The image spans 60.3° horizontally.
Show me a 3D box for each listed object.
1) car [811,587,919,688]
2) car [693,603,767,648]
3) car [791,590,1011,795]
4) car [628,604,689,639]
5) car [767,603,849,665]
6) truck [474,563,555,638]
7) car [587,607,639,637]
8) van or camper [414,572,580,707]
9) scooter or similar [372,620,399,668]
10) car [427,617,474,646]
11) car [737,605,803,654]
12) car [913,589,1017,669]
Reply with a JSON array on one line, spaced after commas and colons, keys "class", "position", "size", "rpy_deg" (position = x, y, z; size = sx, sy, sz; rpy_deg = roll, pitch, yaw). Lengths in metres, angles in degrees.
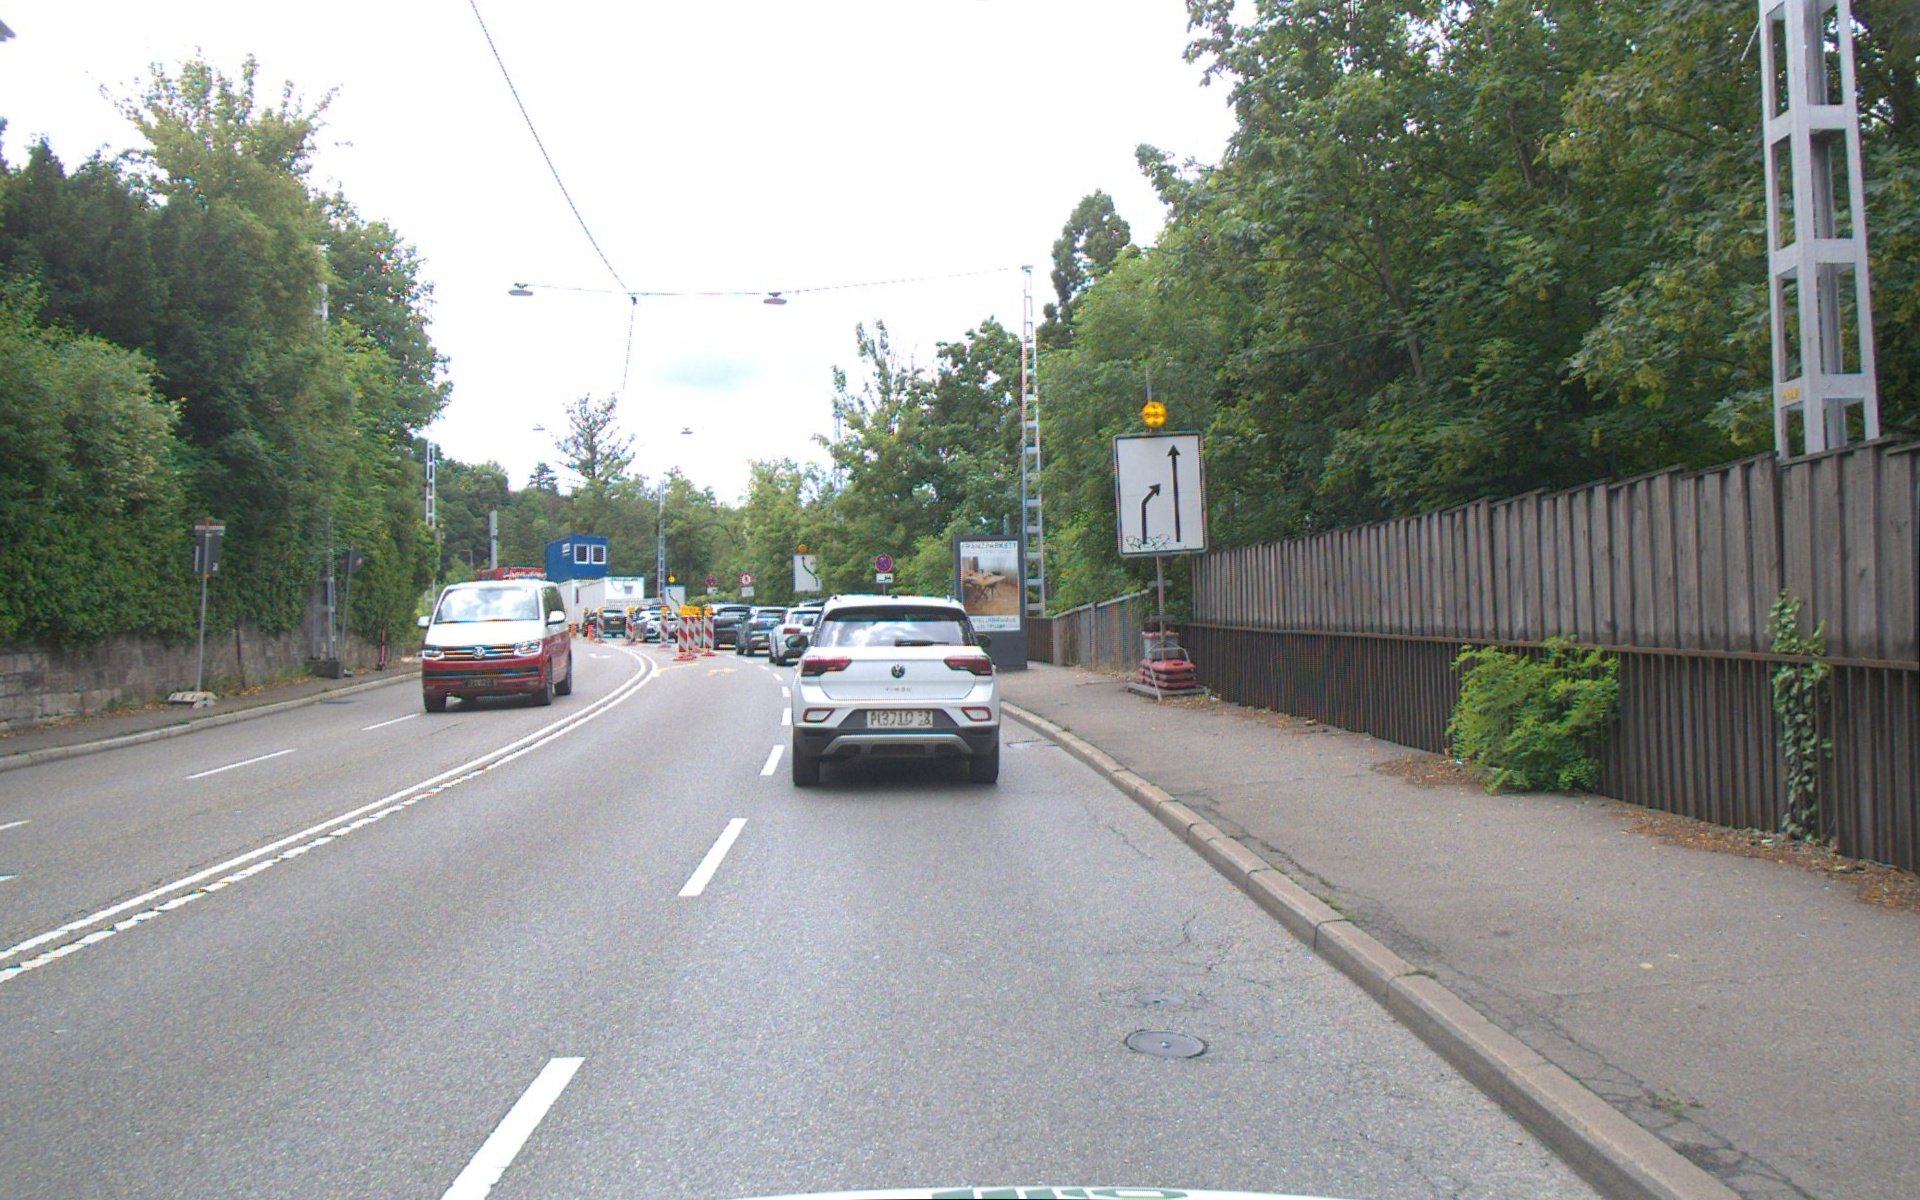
[{"class": "car", "position": [-1.717, 0.626, 28.860], "size": [1.724, 1.638, 3.790], "rpy_deg": [0, 0, -6]}, {"class": "car", "position": [-8.666, 0.932, 62.101], "size": [1.964, 1.583, 4.126], "rpy_deg": [-1, 0, -20]}, {"class": "car", "position": [-0.643, 0.735, 14.858], "size": [1.724, 1.583, 3.790], "rpy_deg": [0, 0, -6]}, {"class": "car", "position": [-13.674, 0.987, 74.838], "size": [1.965, 1.475, 4.124], "rpy_deg": [-1, -1, -21]}, {"class": "car", "position": [-3.953, 0.845, 42.594], "size": [1.726, 1.497, 3.785], "rpy_deg": [0, 0, -11]}, {"class": "truck", "position": [-24.098, 0.052, 89.080], "size": [2.905, 3.763, 9.848], "rpy_deg": [0, 0, -23]}, {"class": "car", "position": [-17.987, 1.162, 85.531], "size": [1.965, 1.475, 4.124], "rpy_deg": [-1, -1, -21]}, {"class": "van or camper", "position": [-7.383, 0.599, 26.811], "size": [1.854, 1.911, 4.757], "rpy_deg": [-2, 0, -7]}, {"class": "scooter or similar", "position": [-14.881, 1.129, 42.873], "size": [0.528, 1.226, 1.274], "rpy_deg": [2, -1, -15]}, {"class": "car", "position": [-26.741, 1.629, 86.762], "size": [1.871, 1.406, 3.970], "rpy_deg": [-2, 0, -24]}, {"class": "car", "position": [-6.127, 0.958, 53.076], "size": [1.956, 1.439, 4.143], "rpy_deg": [-2, -1, -8]}, {"class": "car", "position": [0.045, 0.610, 36.744], "size": [1.732, 1.548, 4.387], "rpy_deg": [-3, 0, -7]}]
